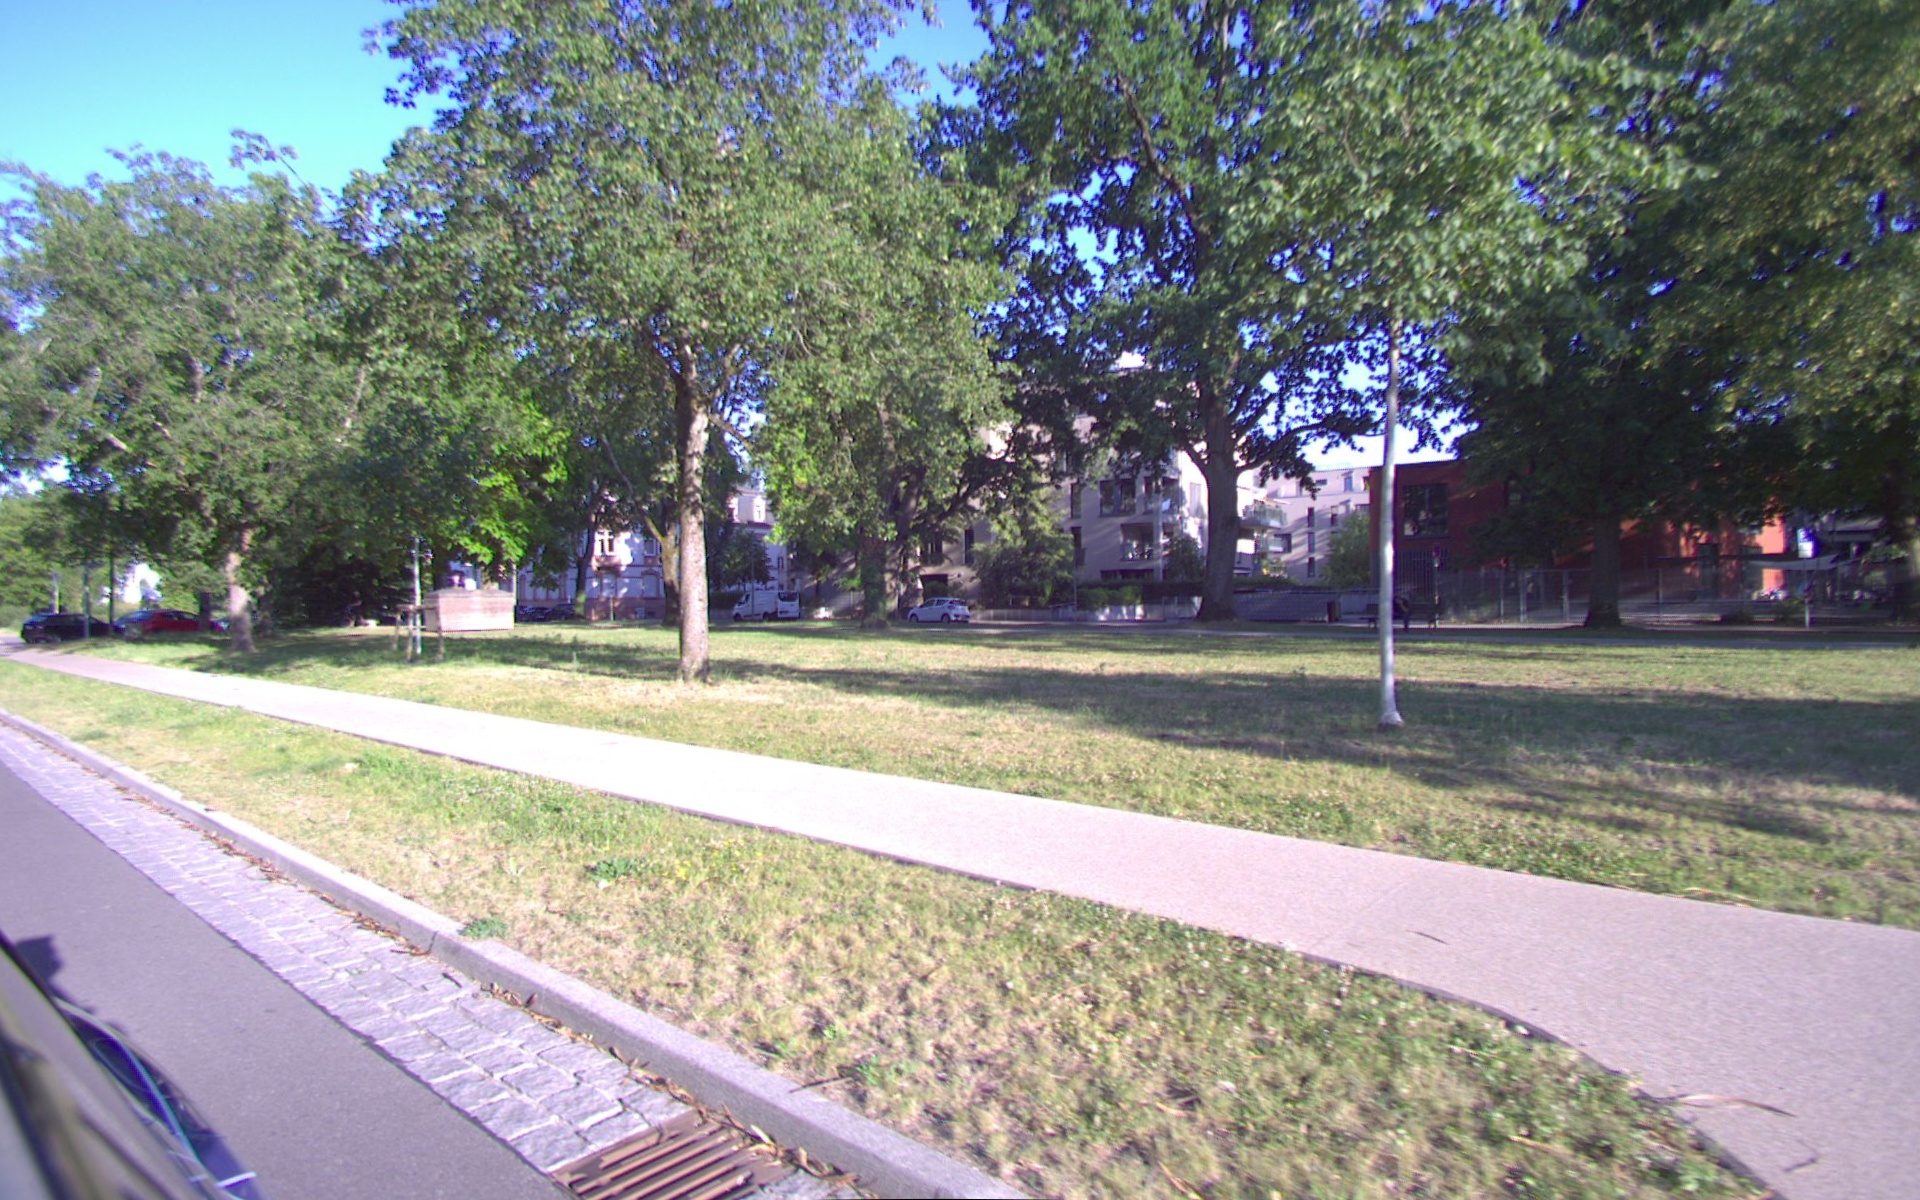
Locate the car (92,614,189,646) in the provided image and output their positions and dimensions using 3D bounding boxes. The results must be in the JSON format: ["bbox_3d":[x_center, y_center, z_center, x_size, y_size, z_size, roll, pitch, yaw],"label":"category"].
[{"bbox_3d":[-45.408,1.635,56.152,1.824,1.643,3.826,0,0,17],"label":"car"}]

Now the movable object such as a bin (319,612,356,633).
[{"bbox_3d":[-30.342,1.105,49.330,0.948,0.997,1.317,-1,-1,37],"label":"movable object such as a bin"}]

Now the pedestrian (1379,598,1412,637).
[{"bbox_3d":[11.246,0.445,26.126,0.541,0.994,0.611,0,-1,-39],"label":"pedestrian"}]

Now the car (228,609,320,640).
[{"bbox_3d":[-38.779,1.358,57.324,1.877,1.586,3.974,1,1,20],"label":"car"}]

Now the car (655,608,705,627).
[{"bbox_3d":[-25.083,1.518,90.697,1.890,1.586,3.946,1,1,40],"label":"car"}]

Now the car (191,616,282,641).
[{"bbox_3d":[-43.702,1.711,61.275,1.825,1.411,4.250,0,0,18],"label":"car"}]

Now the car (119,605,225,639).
[{"bbox_3d":[-40.558,1.104,52.201,1.874,1.586,3.979,1,1,16],"label":"car"}]

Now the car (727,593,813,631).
[{"bbox_3d":[-11.407,0.731,60.592,4.969,2.130,2.641,-1,0,43],"label":"car"}]

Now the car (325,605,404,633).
[{"bbox_3d":[-36.726,1.146,62.506,1.877,1.586,3.973,1,1,21],"label":"car"}]

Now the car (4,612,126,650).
[{"bbox_3d":[-42.157,1.427,47.788,1.874,1.586,3.979,1,1,16],"label":"car"}]

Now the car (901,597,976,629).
[{"bbox_3d":[-1.202,0.712,55.552,3.736,1.630,1.973,-1,0,41],"label":"car"}]

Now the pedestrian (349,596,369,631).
[{"bbox_3d":[-29.758,0.662,50.110,0.671,1.708,0.656,-2,0,37],"label":"pedestrian"}]

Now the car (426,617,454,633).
[{"bbox_3d":[-58.196,2.735,113.220,1.860,1.586,4.608,0,1,-38],"label":"car"}]
